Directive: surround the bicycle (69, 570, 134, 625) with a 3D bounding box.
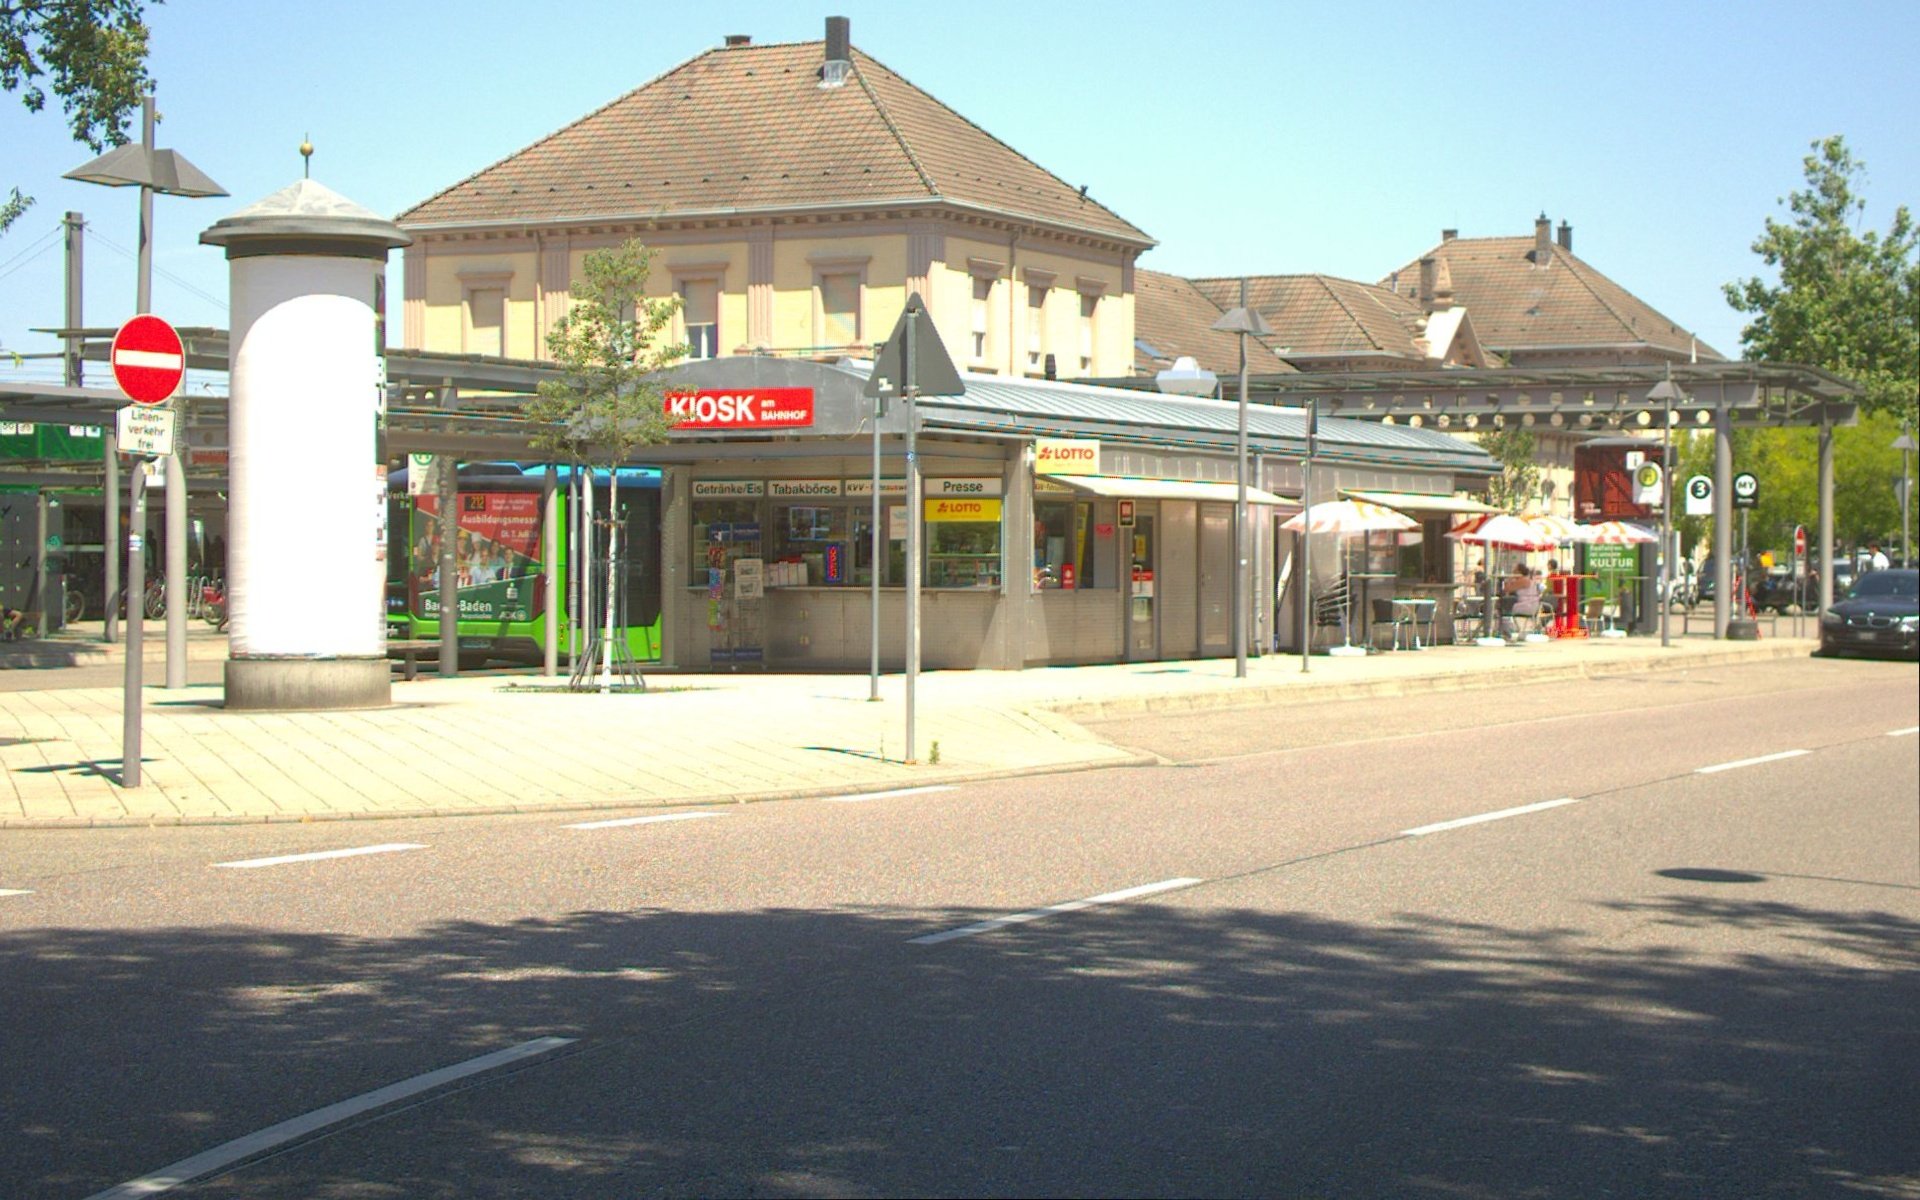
[{"bbox_3d":[-17.374,-0.052,69.575,1.383,1.090,0.385,0,1,29],"label":"bicycle"}]

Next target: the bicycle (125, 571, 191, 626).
[{"bbox_3d":[-16.073,-0.027,68.854,1.383,1.090,0.385,0,1,29],"label":"bicycle"}]

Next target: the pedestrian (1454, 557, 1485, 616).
[{"bbox_3d":[14.593,-0.393,98.418,0.654,1.667,0.631,1,-1,-19],"label":"pedestrian"}]

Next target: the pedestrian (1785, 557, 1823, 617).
[{"bbox_3d":[23.645,-0.371,96.278,0.762,1.653,0.719,0,-2,44],"label":"pedestrian"}]

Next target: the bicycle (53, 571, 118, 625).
[{"bbox_3d":[-17.597,-0.044,69.181,1.383,1.090,0.385,0,1,29],"label":"bicycle"}]

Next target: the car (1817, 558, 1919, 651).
[{"bbox_3d":[15.494,0.057,56.636,1.721,1.473,4.779,0,0,26],"label":"car"}]

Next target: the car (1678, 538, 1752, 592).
[{"bbox_3d":[29.222,-1.382,133.049,1.996,2.006,3.995,0,2,25],"label":"car"}]

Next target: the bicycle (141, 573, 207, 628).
[{"bbox_3d":[-15.838,-0.001,69.259,1.383,1.090,0.385,0,1,29],"label":"bicycle"}]

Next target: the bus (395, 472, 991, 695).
[{"bbox_3d":[-3.665,-0.247,53.547,2.678,3.030,13.873,0,0,26],"label":"bus"}]

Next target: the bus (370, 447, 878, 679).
[{"bbox_3d":[-5.300,-0.630,57.912,2.165,3.514,12.204,1,1,27],"label":"bus"}]

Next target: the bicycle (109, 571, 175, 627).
[{"bbox_3d":[-16.289,-0.023,68.453,1.383,1.090,0.385,0,1,29],"label":"bicycle"}]

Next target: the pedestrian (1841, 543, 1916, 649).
[{"bbox_3d":[16.136,-0.063,60.410,0.801,1.822,1.139,0,-2,44],"label":"pedestrian"}]

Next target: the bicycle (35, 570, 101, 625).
[{"bbox_3d":[-17.837,-0.047,68.760,1.383,1.090,0.385,0,1,29],"label":"bicycle"}]

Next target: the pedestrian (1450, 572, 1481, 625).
[{"bbox_3d":[9.336,-0.033,63.494,0.425,0.969,0.371,0,-1,40],"label":"pedestrian"}]
